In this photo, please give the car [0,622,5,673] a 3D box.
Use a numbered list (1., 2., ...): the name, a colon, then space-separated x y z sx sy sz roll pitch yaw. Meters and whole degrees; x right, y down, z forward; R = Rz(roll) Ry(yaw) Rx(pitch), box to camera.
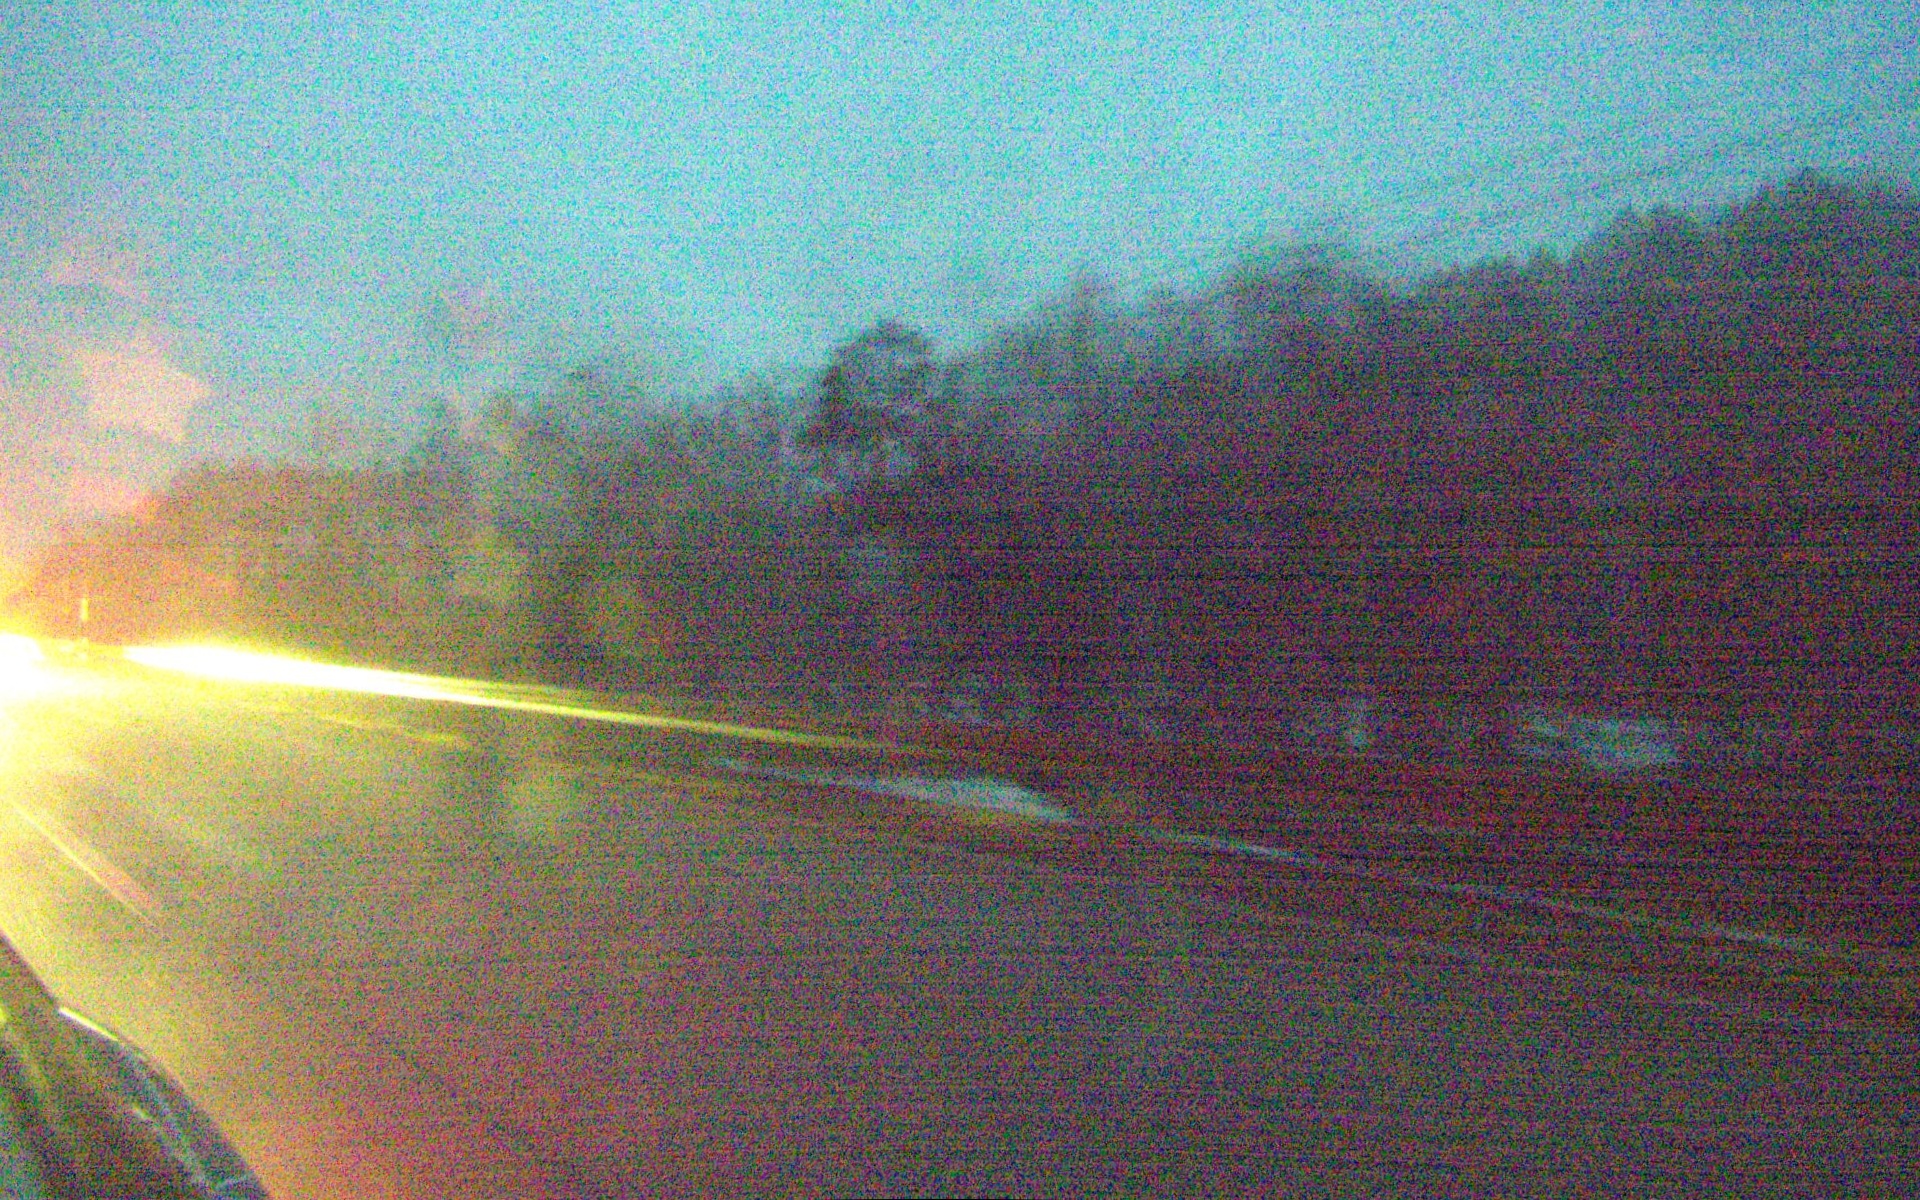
1. car: -29.769 1.394 29.848 4.388 1.482 1.817 -1 -2 40
